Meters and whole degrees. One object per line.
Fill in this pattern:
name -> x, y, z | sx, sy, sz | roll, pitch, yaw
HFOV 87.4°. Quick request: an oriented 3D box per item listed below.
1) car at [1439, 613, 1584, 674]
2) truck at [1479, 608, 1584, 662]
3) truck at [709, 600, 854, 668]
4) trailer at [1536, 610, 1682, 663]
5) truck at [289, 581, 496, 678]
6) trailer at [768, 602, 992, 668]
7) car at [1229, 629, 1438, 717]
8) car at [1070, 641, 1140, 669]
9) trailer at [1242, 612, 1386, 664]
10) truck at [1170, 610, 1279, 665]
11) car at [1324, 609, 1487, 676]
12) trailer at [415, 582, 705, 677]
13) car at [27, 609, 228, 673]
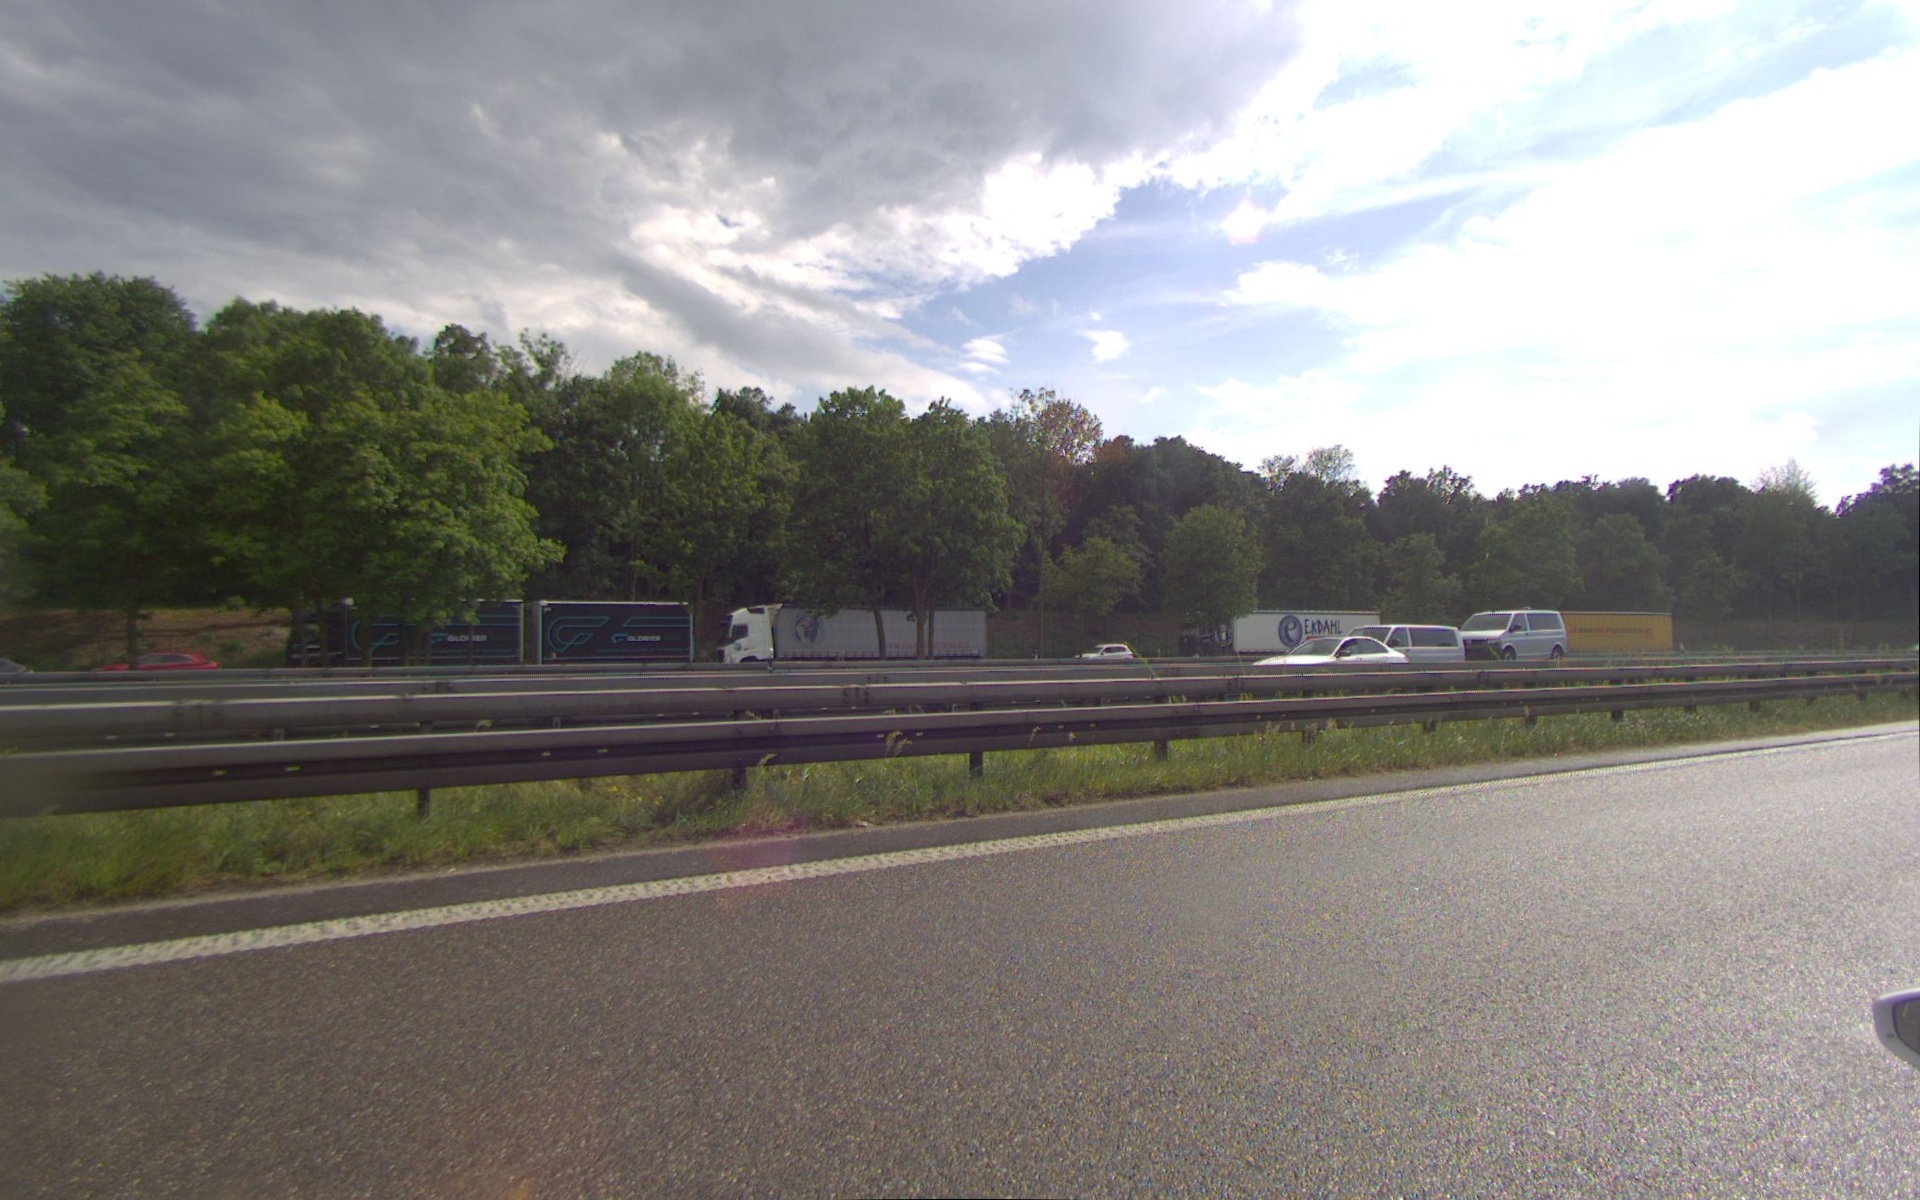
car -> 19.070, 1.486, 34.691 | 5.199, 1.916, 2.036 | 2, 0, -31
truck -> 46.842, 2.874, 82.398 | 6.932, 4.171, 3.787 | 2, 0, -17
truck -> -10.203, 1.952, 57.500 | 7.268, 3.637, 3.770 | 2, 0, -30
trailer -> 54.778, 3.105, 84.810 | 11.536, 4.171, 3.786 | 2, 0, -17
truck -> -27.097, 1.411, 48.369 | 8.318, 4.290, 3.770 | 2, 0, -30
trailer -> -4.630, 2.108, 60.689 | 13.185, 3.697, 3.772 | 1, -2, -30
car -> 9.300, 1.745, 24.888 | 5.199, 1.916, 2.036 | 2, 0, -31
car -> 9.733, 3.706, 67.431 | 4.313, 1.741, 2.051 | 2, 0, -28
trailer -> 26.446, 2.818, 74.955 | 10.348, 3.697, 3.781 | 1, -1, -23
truck -> 18.793, 2.637, 71.511 | 6.614, 3.709, 3.777 | 2, 0, -25
car -> 13.969, 1.324, 31.434 | 5.199, 1.916, 2.036 | 2, 0, -31
trailer -> -20.539, 1.545, 52.218 | 13.636, 4.464, 3.772 | 1, -2, -30
car -> -35.343, 1.725, 42.984 | 6.137, 2.515, 2.780 | 2, 0, -30
